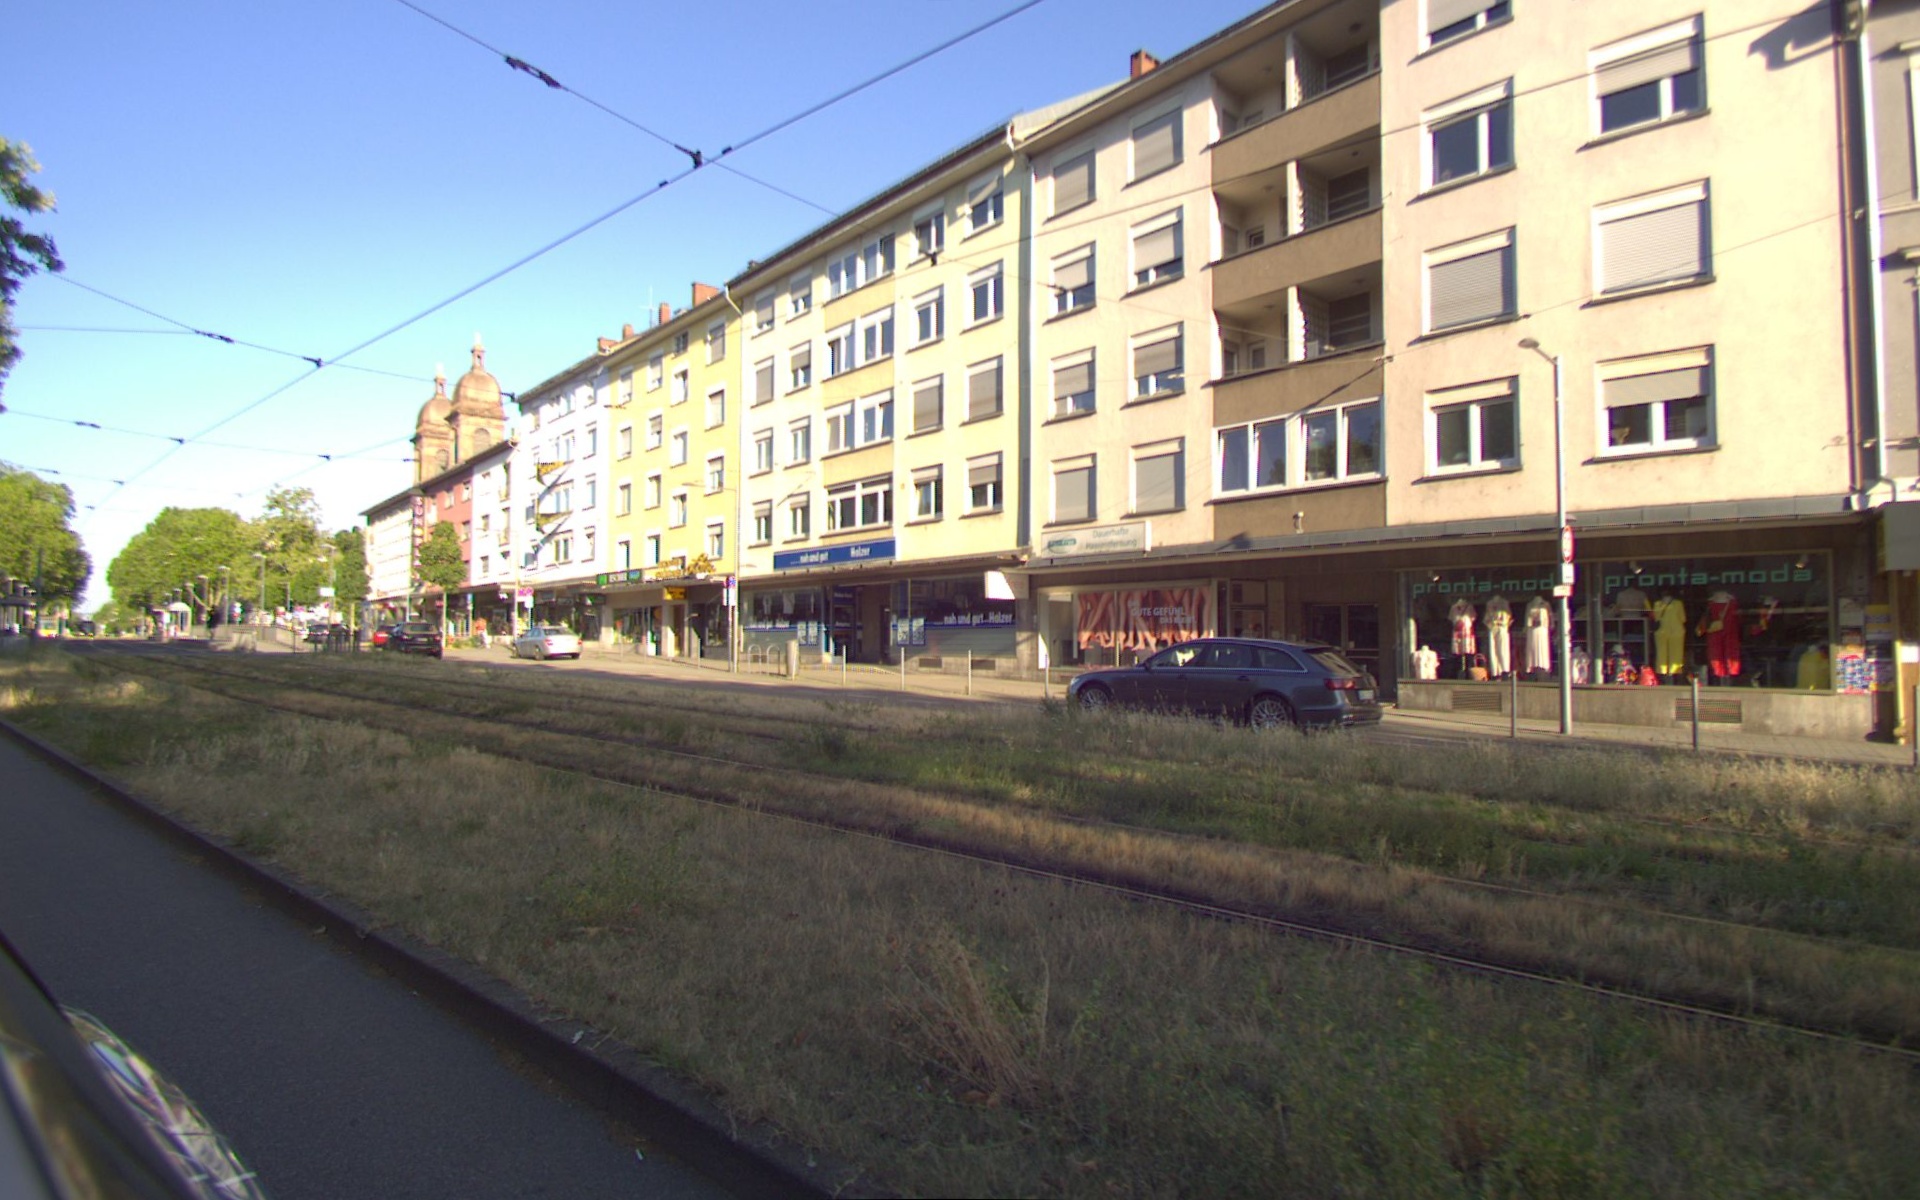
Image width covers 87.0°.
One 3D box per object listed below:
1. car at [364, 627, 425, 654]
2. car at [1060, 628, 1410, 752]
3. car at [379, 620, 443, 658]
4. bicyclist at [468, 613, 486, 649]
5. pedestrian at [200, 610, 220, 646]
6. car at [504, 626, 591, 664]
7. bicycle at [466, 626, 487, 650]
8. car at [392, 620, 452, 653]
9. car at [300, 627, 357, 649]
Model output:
[{"bbox_3d":[-35.354,2.518,63.383,1.836,1.502,3.773,-1,0,-3],"label":"car"},{"bbox_3d":[4.024,1.228,15.344,4.772,1.571,1.973,-1,-2,41],"label":"car"},{"bbox_3d":[-22.657,1.593,41.729,1.700,1.520,3.482,2,-2,-39],"label":"car"},{"bbox_3d":[-26.340,1.697,55.173,0.683,1.900,1.061,-3,2,-32],"label":"bicyclist"},{"bbox_3d":[-40.087,1.497,54.073,0.590,1.863,0.733,-2,-3,43],"label":"pedestrian"},{"bbox_3d":[-17.806,1.895,43.595,1.970,1.489,4.414,0,-1,-44],"label":"car"},{"bbox_3d":[-26.554,2.085,55.529,0.696,1.167,2.205,-3,3,-33],"label":"bicycle"},{"bbox_3d":[-32.817,2.191,61.832,1.836,1.813,3.773,-1,0,-3],"label":"car"},{"bbox_3d":[-49.023,2.903,78.632,1.845,1.541,3.996,-1,0,3],"label":"car"}]
